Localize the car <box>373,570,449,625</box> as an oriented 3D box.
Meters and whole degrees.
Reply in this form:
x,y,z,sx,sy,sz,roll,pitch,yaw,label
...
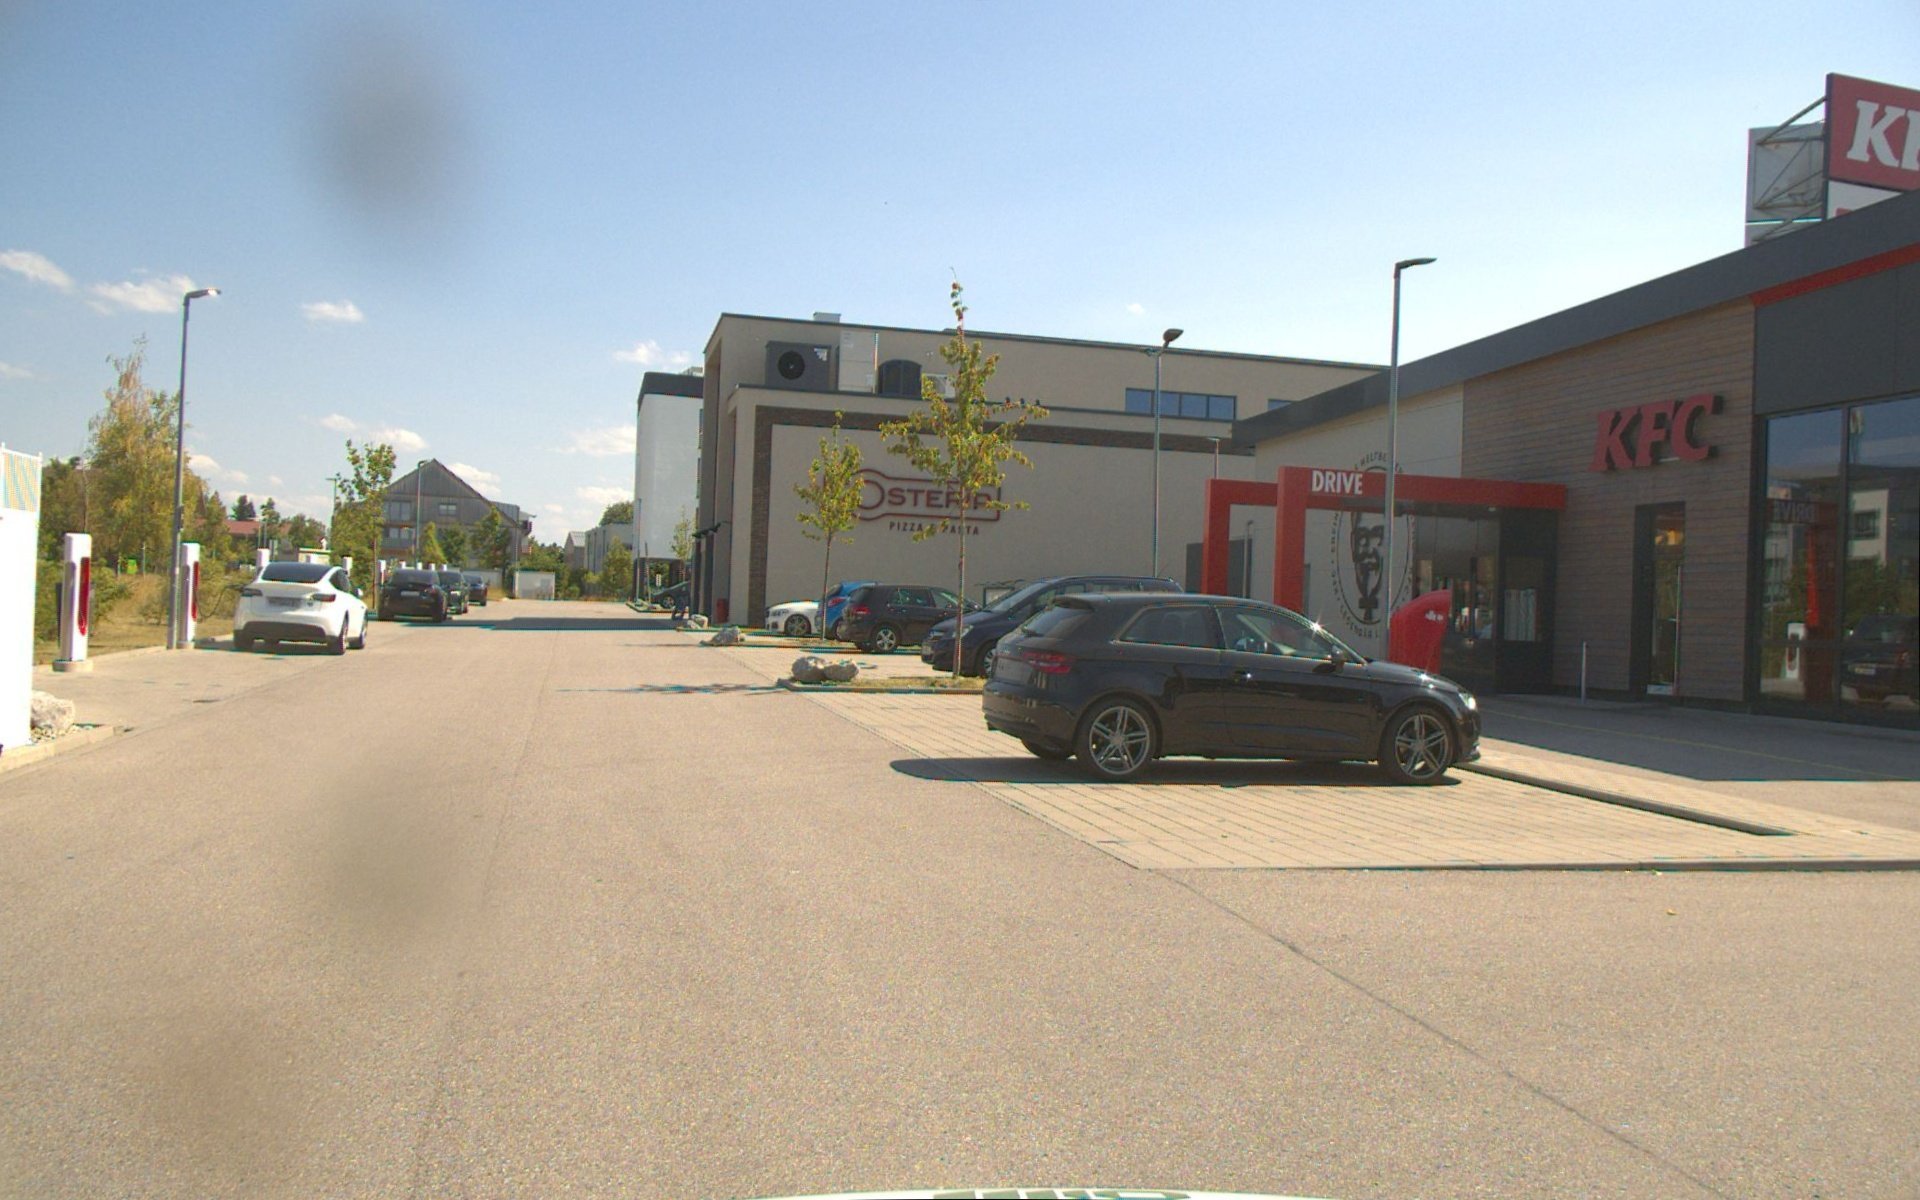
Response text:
x,y,z,sx,sy,sz,roll,pitch,yaw,label
-17.312,-0.097,52.319,1.912,1.595,3.986,2,0,-14,car

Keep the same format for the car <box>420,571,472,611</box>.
x,y,z,sx,sy,sz,roll,pitch,yaw,label
-19.832,-0.367,63.911,1.714,1.411,3.984,2,0,-15,car

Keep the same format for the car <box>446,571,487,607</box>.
x,y,z,sx,sy,sz,roll,pitch,yaw,label
-23.921,-0.546,80.202,1.714,1.595,3.984,2,0,-15,car

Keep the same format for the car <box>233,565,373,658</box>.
x,y,z,sx,sy,sz,roll,pitch,yaw,label
-12.451,0.187,31.565,1.912,1.595,3.985,2,0,-14,car

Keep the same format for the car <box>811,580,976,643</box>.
x,y,z,sx,sy,sz,roll,pitch,yaw,label
-1.726,0.302,42.431,3.924,1.445,1.643,2,0,-17,car

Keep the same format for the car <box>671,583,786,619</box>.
x,y,z,sx,sy,sz,roll,pitch,yaw,label
-8.463,0.023,60.398,3.921,1.176,1.992,2,1,-15,car

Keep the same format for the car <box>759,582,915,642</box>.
x,y,z,sx,sy,sz,roll,pitch,yaw,label
-3.342,0.320,44.727,3.924,1.445,1.643,2,0,-17,car

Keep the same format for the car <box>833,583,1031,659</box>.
x,y,z,sx,sy,sz,roll,pitch,yaw,label
-0.611,0.448,35.556,3.924,1.445,1.643,2,0,-17,car

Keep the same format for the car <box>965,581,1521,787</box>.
x,y,z,sx,sy,sz,roll,pitch,yaw,label
2.264,0.665,13.509,4.130,1.466,1.692,2,0,-15,car

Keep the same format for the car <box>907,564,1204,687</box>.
x,y,z,sx,sy,sz,roll,pitch,yaw,label
1.488,0.398,25.786,4.303,1.715,1.633,2,0,-19,car
